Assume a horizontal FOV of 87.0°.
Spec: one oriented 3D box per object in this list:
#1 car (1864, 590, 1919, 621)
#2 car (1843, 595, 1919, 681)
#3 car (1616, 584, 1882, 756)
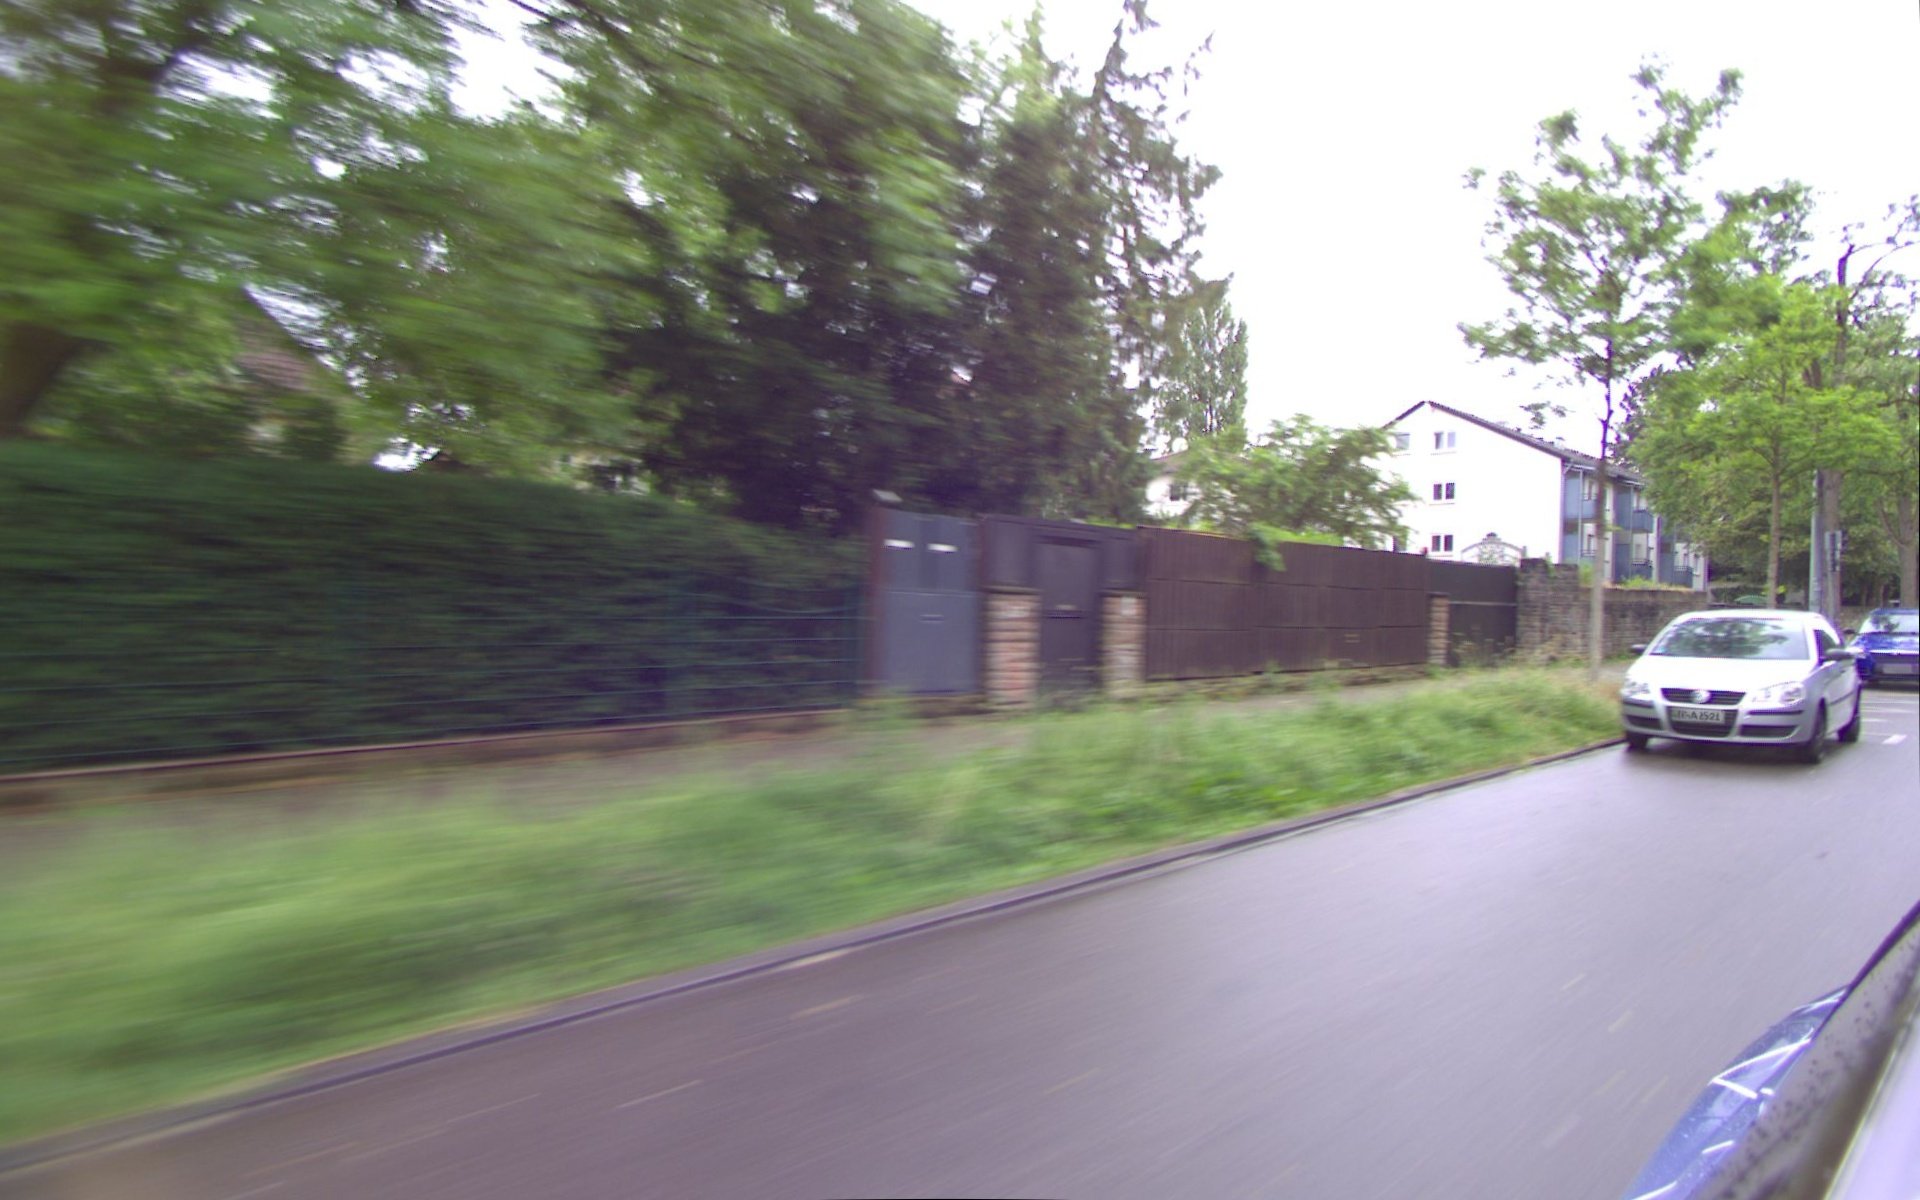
[{"bbox_3d":[58.997,0.381,62.572,1.964,1.702,4.321,0,4,-39],"label":"car"},{"bbox_3d":[18.431,0.718,19.358,3.977,1.525,1.724,1,-1,-40],"label":"car"},{"bbox_3d":[8.565,0.659,10.879,3.768,1.527,1.620,2,-2,-42],"label":"car"}]
